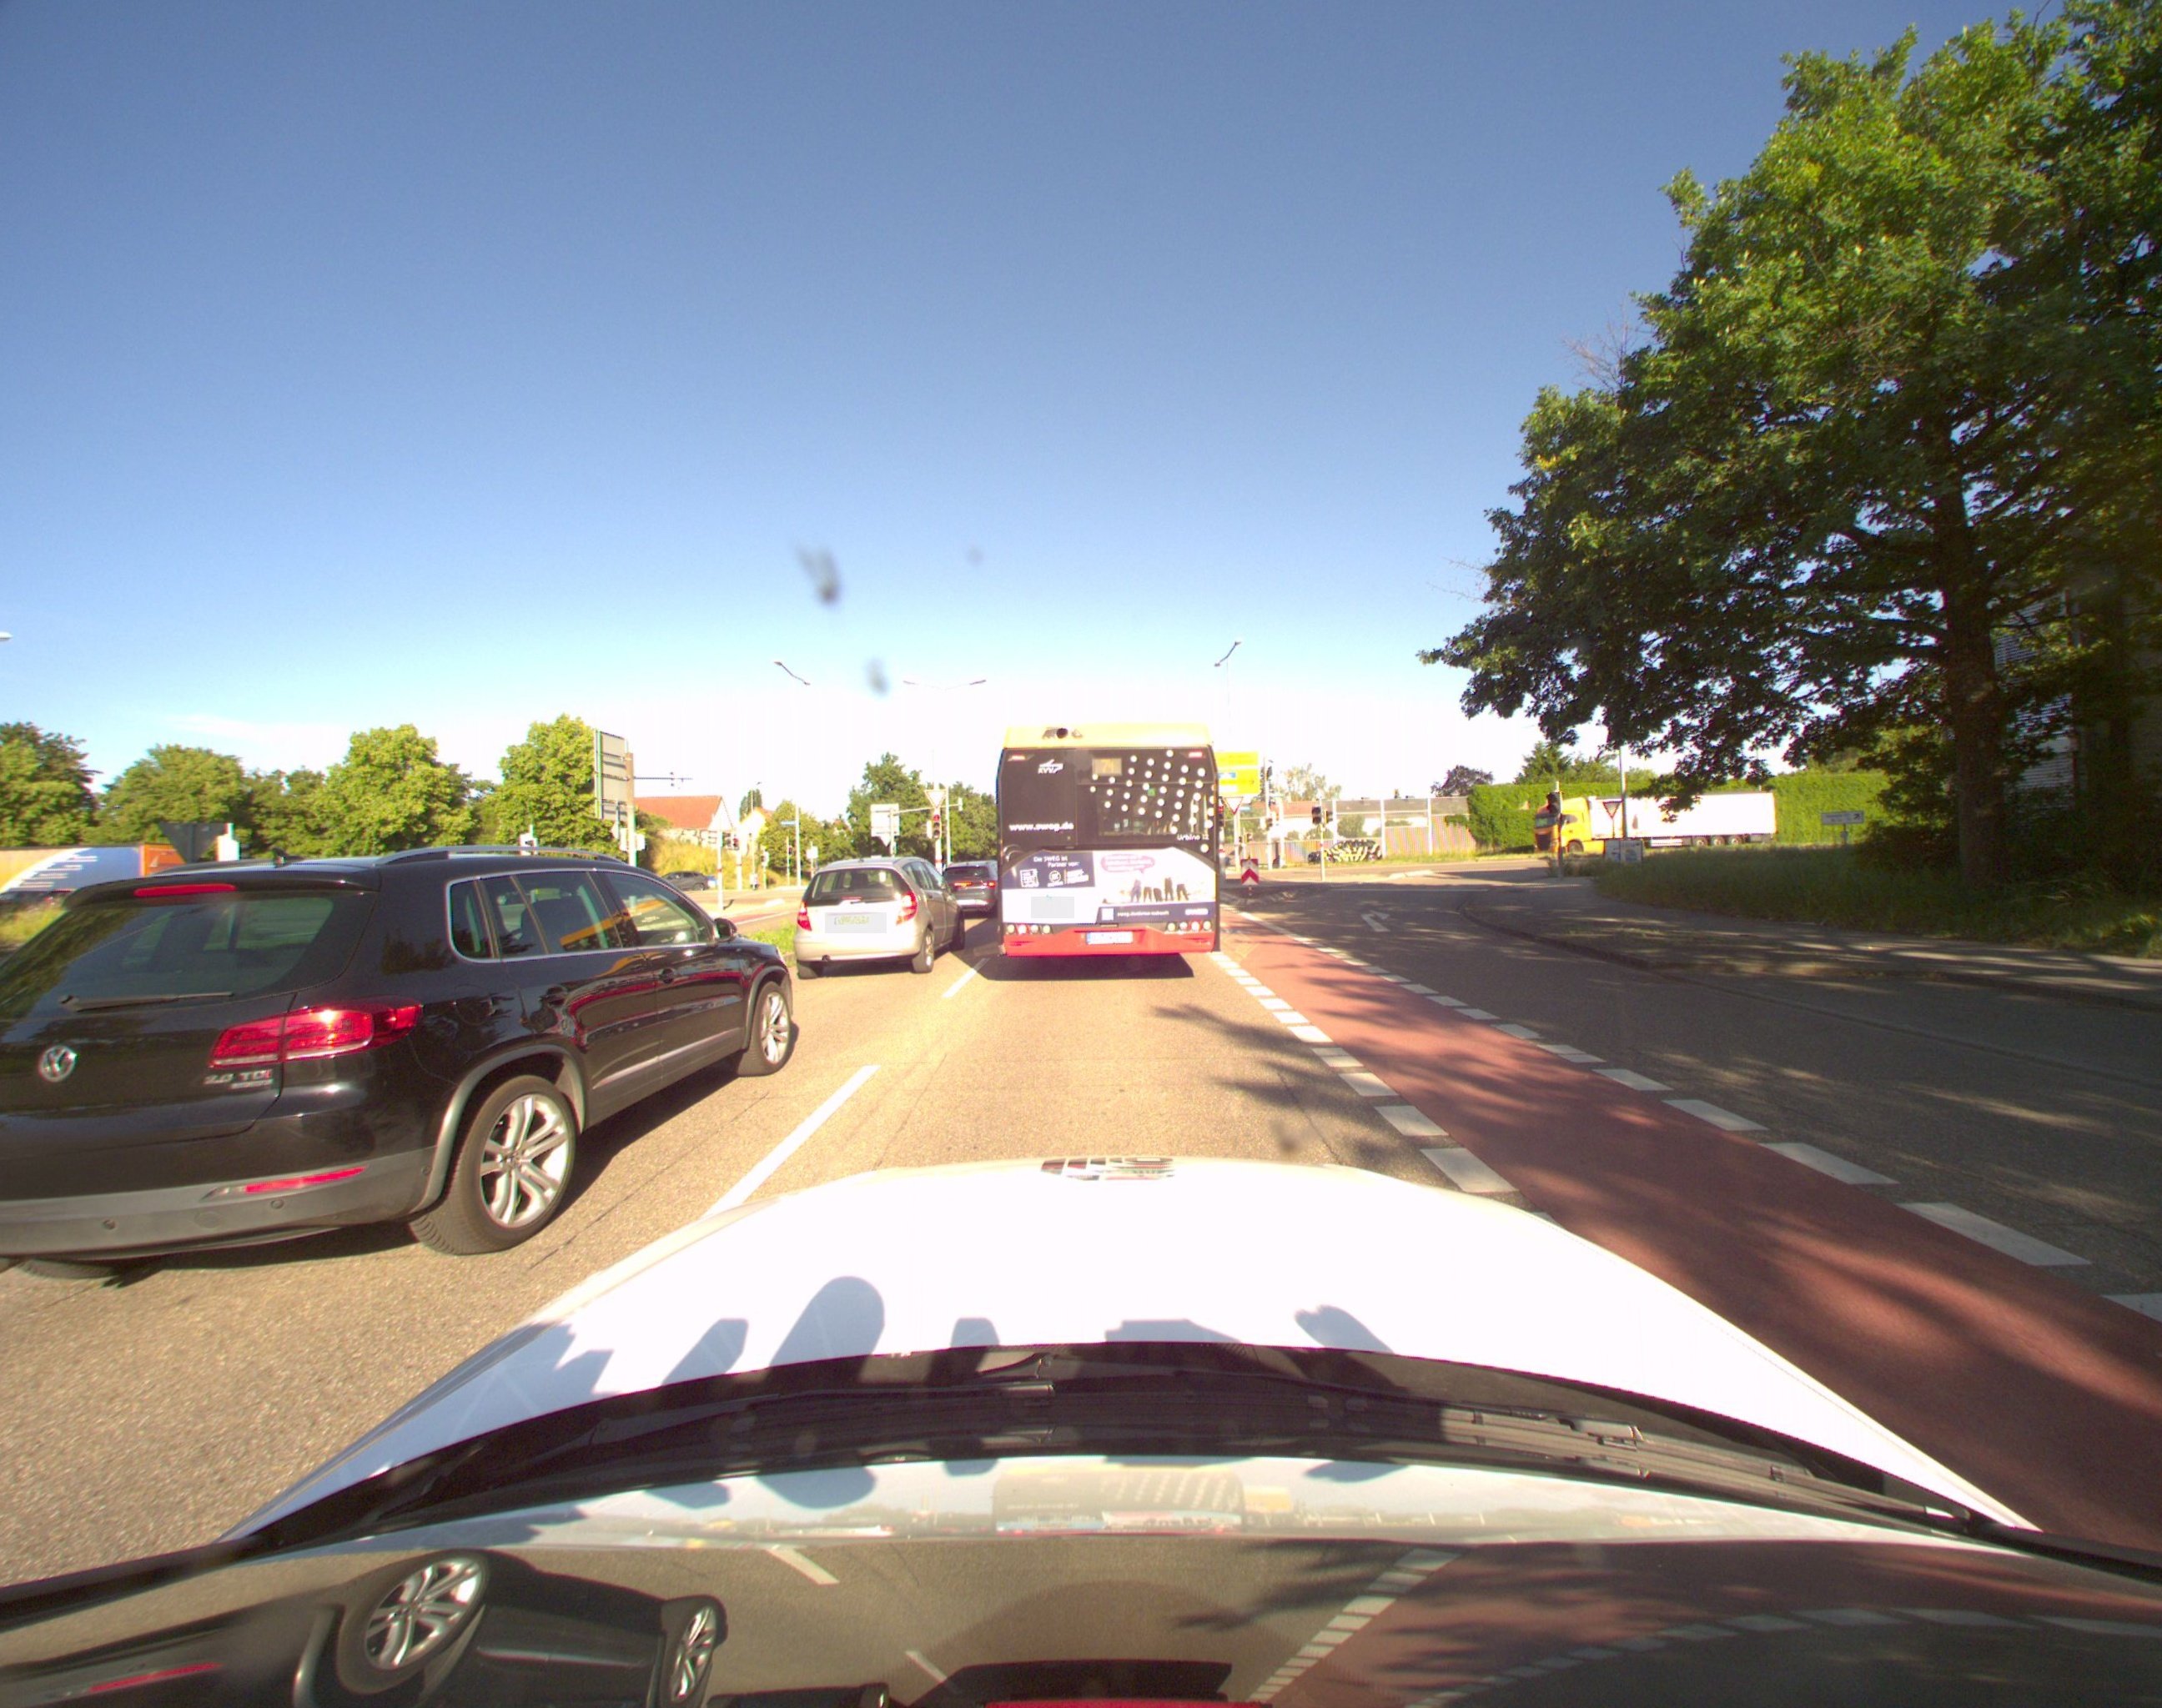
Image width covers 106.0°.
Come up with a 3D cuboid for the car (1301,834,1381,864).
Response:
[{"bbox_3d":[15.176,-0.283,47.660,4.058,1.526,1.766,-3,0,-4],"label":"car"}]

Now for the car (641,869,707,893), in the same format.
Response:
[{"bbox_3d":[-27.525,1.811,55.177,1.556,1.459,3.618,-3,-1,40],"label":"car"}]

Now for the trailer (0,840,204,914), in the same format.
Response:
[{"bbox_3d":[-61.744,1.334,47.925,15.285,4.185,3.434,0,-1,-5],"label":"trailer"}]

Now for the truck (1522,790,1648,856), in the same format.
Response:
[{"bbox_3d":[34.866,-2.105,56.522,6.465,4.012,3.435,-4,0,-5],"label":"truck"}]

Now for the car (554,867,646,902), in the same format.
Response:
[{"bbox_3d":[-24.571,1.537,41.667,3.577,1.560,1.747,-2,0,-5],"label":"car"}]

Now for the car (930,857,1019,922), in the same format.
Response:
[{"bbox_3d":[-2.688,0.856,21.309,1.686,1.458,3.751,-3,0,1],"label":"car"}]

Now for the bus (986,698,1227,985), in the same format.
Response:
[{"bbox_3d":[0.524,-0.165,15.014,2.632,3.167,11.867,-1,0,2],"label":"bus"}]

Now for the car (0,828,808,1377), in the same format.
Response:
[{"bbox_3d":[-3.170,0.798,4.549,1.766,1.653,4.001,-3,0,1],"label":"car"}]

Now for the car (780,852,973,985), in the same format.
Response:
[{"bbox_3d":[-2.874,0.823,12.376,1.755,1.589,4.001,-3,0,1],"label":"car"}]

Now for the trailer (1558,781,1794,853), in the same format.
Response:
[{"bbox_3d":[41.632,-2.546,57.156,14.634,4.012,3.434,-4,0,-5],"label":"trailer"}]
